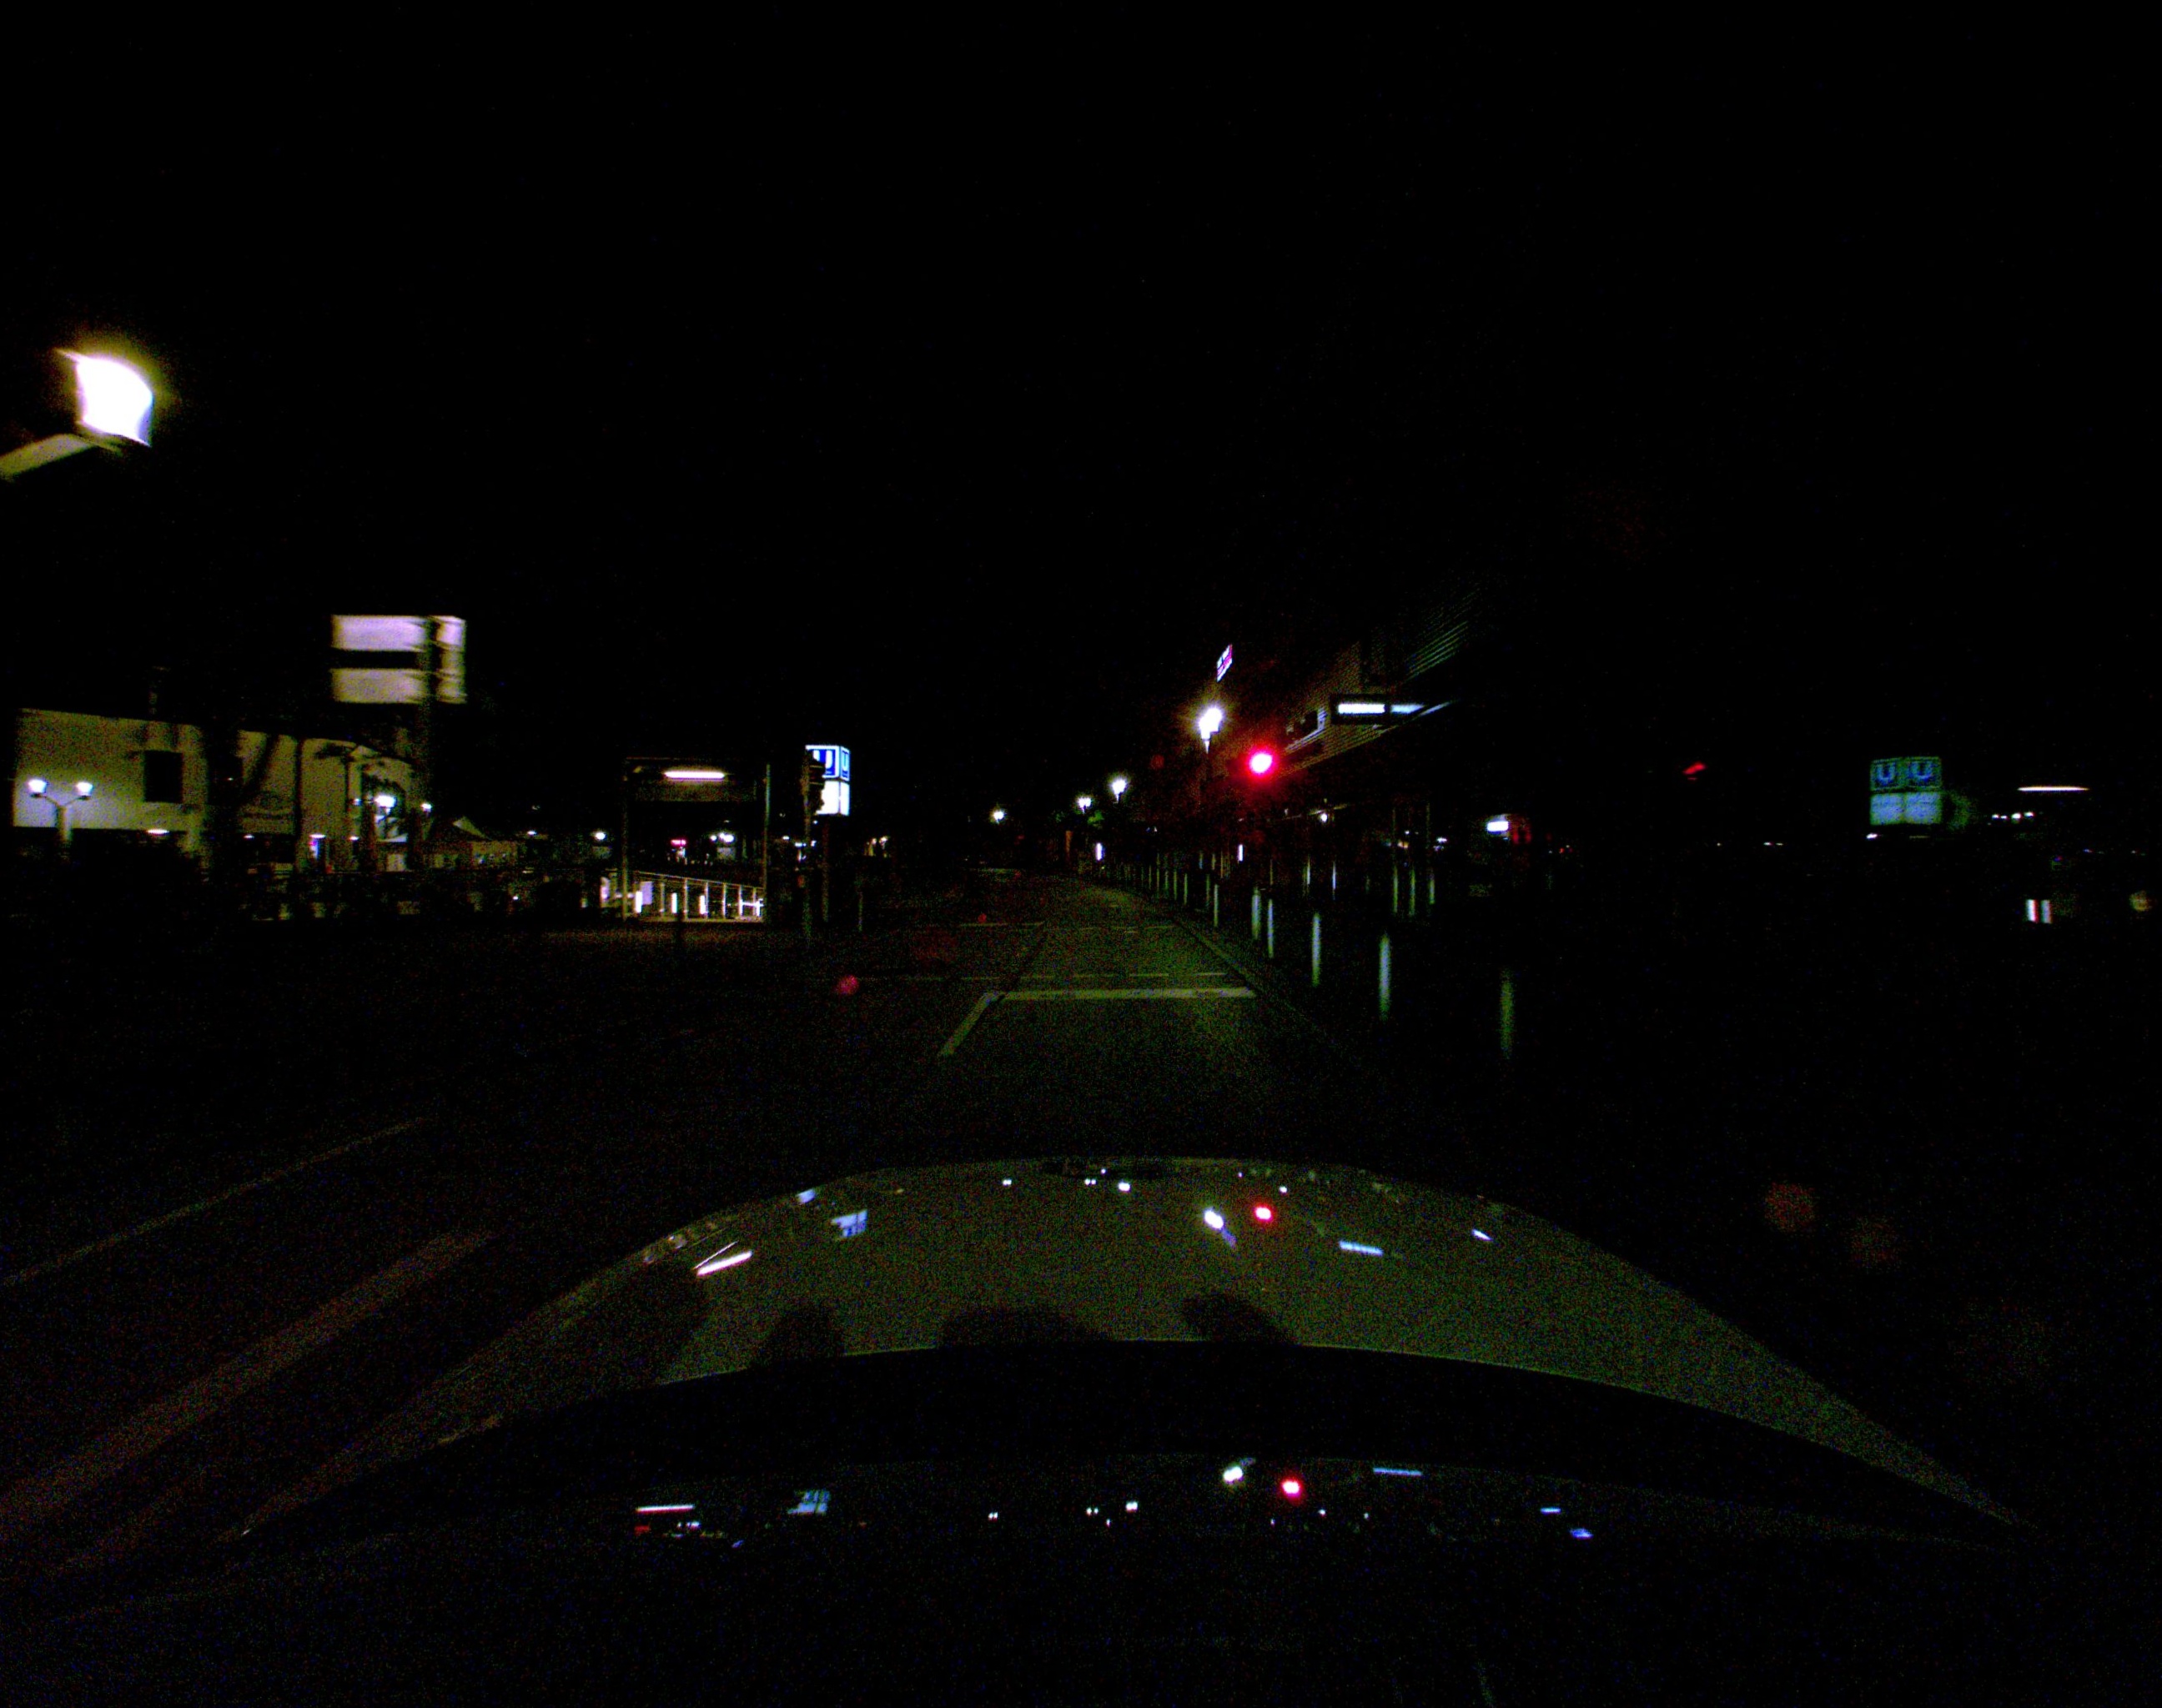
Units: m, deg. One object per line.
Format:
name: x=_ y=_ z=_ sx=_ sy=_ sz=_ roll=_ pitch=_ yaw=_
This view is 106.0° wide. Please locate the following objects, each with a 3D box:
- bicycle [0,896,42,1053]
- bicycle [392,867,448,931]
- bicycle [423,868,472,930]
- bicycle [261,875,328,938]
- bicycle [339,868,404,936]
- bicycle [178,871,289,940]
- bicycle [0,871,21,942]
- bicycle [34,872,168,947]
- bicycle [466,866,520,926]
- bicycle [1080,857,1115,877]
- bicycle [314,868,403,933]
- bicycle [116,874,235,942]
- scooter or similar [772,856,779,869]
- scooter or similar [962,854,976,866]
bicycle: x=-8.476 y=0.858 z=5.665 sx=1.610 sy=1.105 sz=0.670 roll=0 pitch=-1 yaw=1
bicycle: x=-13.463 y=0.888 z=16.617 sx=0.611 sy=1.165 sz=1.730 roll=-1 pitch=1 yaw=-31
bicycle: x=-12.888 y=0.885 z=16.607 sx=0.546 sy=1.154 sz=1.730 roll=-1 pitch=1 yaw=-31
bicycle: x=-14.980 y=0.970 z=15.553 sx=0.611 sy=1.069 sz=1.729 roll=-2 pitch=1 yaw=-34
bicycle: x=-13.624 y=0.892 z=15.674 sx=0.611 sy=1.165 sz=1.730 roll=-1 pitch=1 yaw=-31
bicycle: x=-15.804 y=0.926 z=15.245 sx=0.608 sy=1.125 sz=1.738 roll=-1 pitch=1 yaw=-16
bicycle: x=-18.920 y=0.938 z=13.560 sx=0.608 sy=1.218 sz=1.738 roll=-1 pitch=1 yaw=-16
bicycle: x=-17.253 y=0.945 z=14.397 sx=0.608 sy=1.165 sz=1.738 roll=-1 pitch=1 yaw=-16
bicycle: x=-12.547 y=0.863 z=17.422 sx=0.764 sy=1.162 sz=1.730 roll=-1 pitch=1 yaw=-31
bicycle: x=0.898 y=0.677 z=43.270 sx=1.757 sy=1.062 sz=0.650 roll=0 pitch=1 yaw=-24
bicycle: x=-14.475 y=0.906 z=16.376 sx=0.608 sy=1.165 sz=1.738 roll=-1 pitch=1 yaw=-16
bicycle: x=-16.679 y=0.962 z=15.066 sx=0.608 sy=1.100 sz=1.738 roll=-1 pitch=1 yaw=-16
scooter or similar: x=-32.594 y=0.888 z=86.778 sx=0.433 sy=1.284 sz=1.135 roll=-1 pitch=1 yaw=-33
scooter or similar: x=-11.838 y=0.611 z=86.092 sx=1.253 sy=1.227 sz=0.593 roll=1 pitch=0 yaw=-26
